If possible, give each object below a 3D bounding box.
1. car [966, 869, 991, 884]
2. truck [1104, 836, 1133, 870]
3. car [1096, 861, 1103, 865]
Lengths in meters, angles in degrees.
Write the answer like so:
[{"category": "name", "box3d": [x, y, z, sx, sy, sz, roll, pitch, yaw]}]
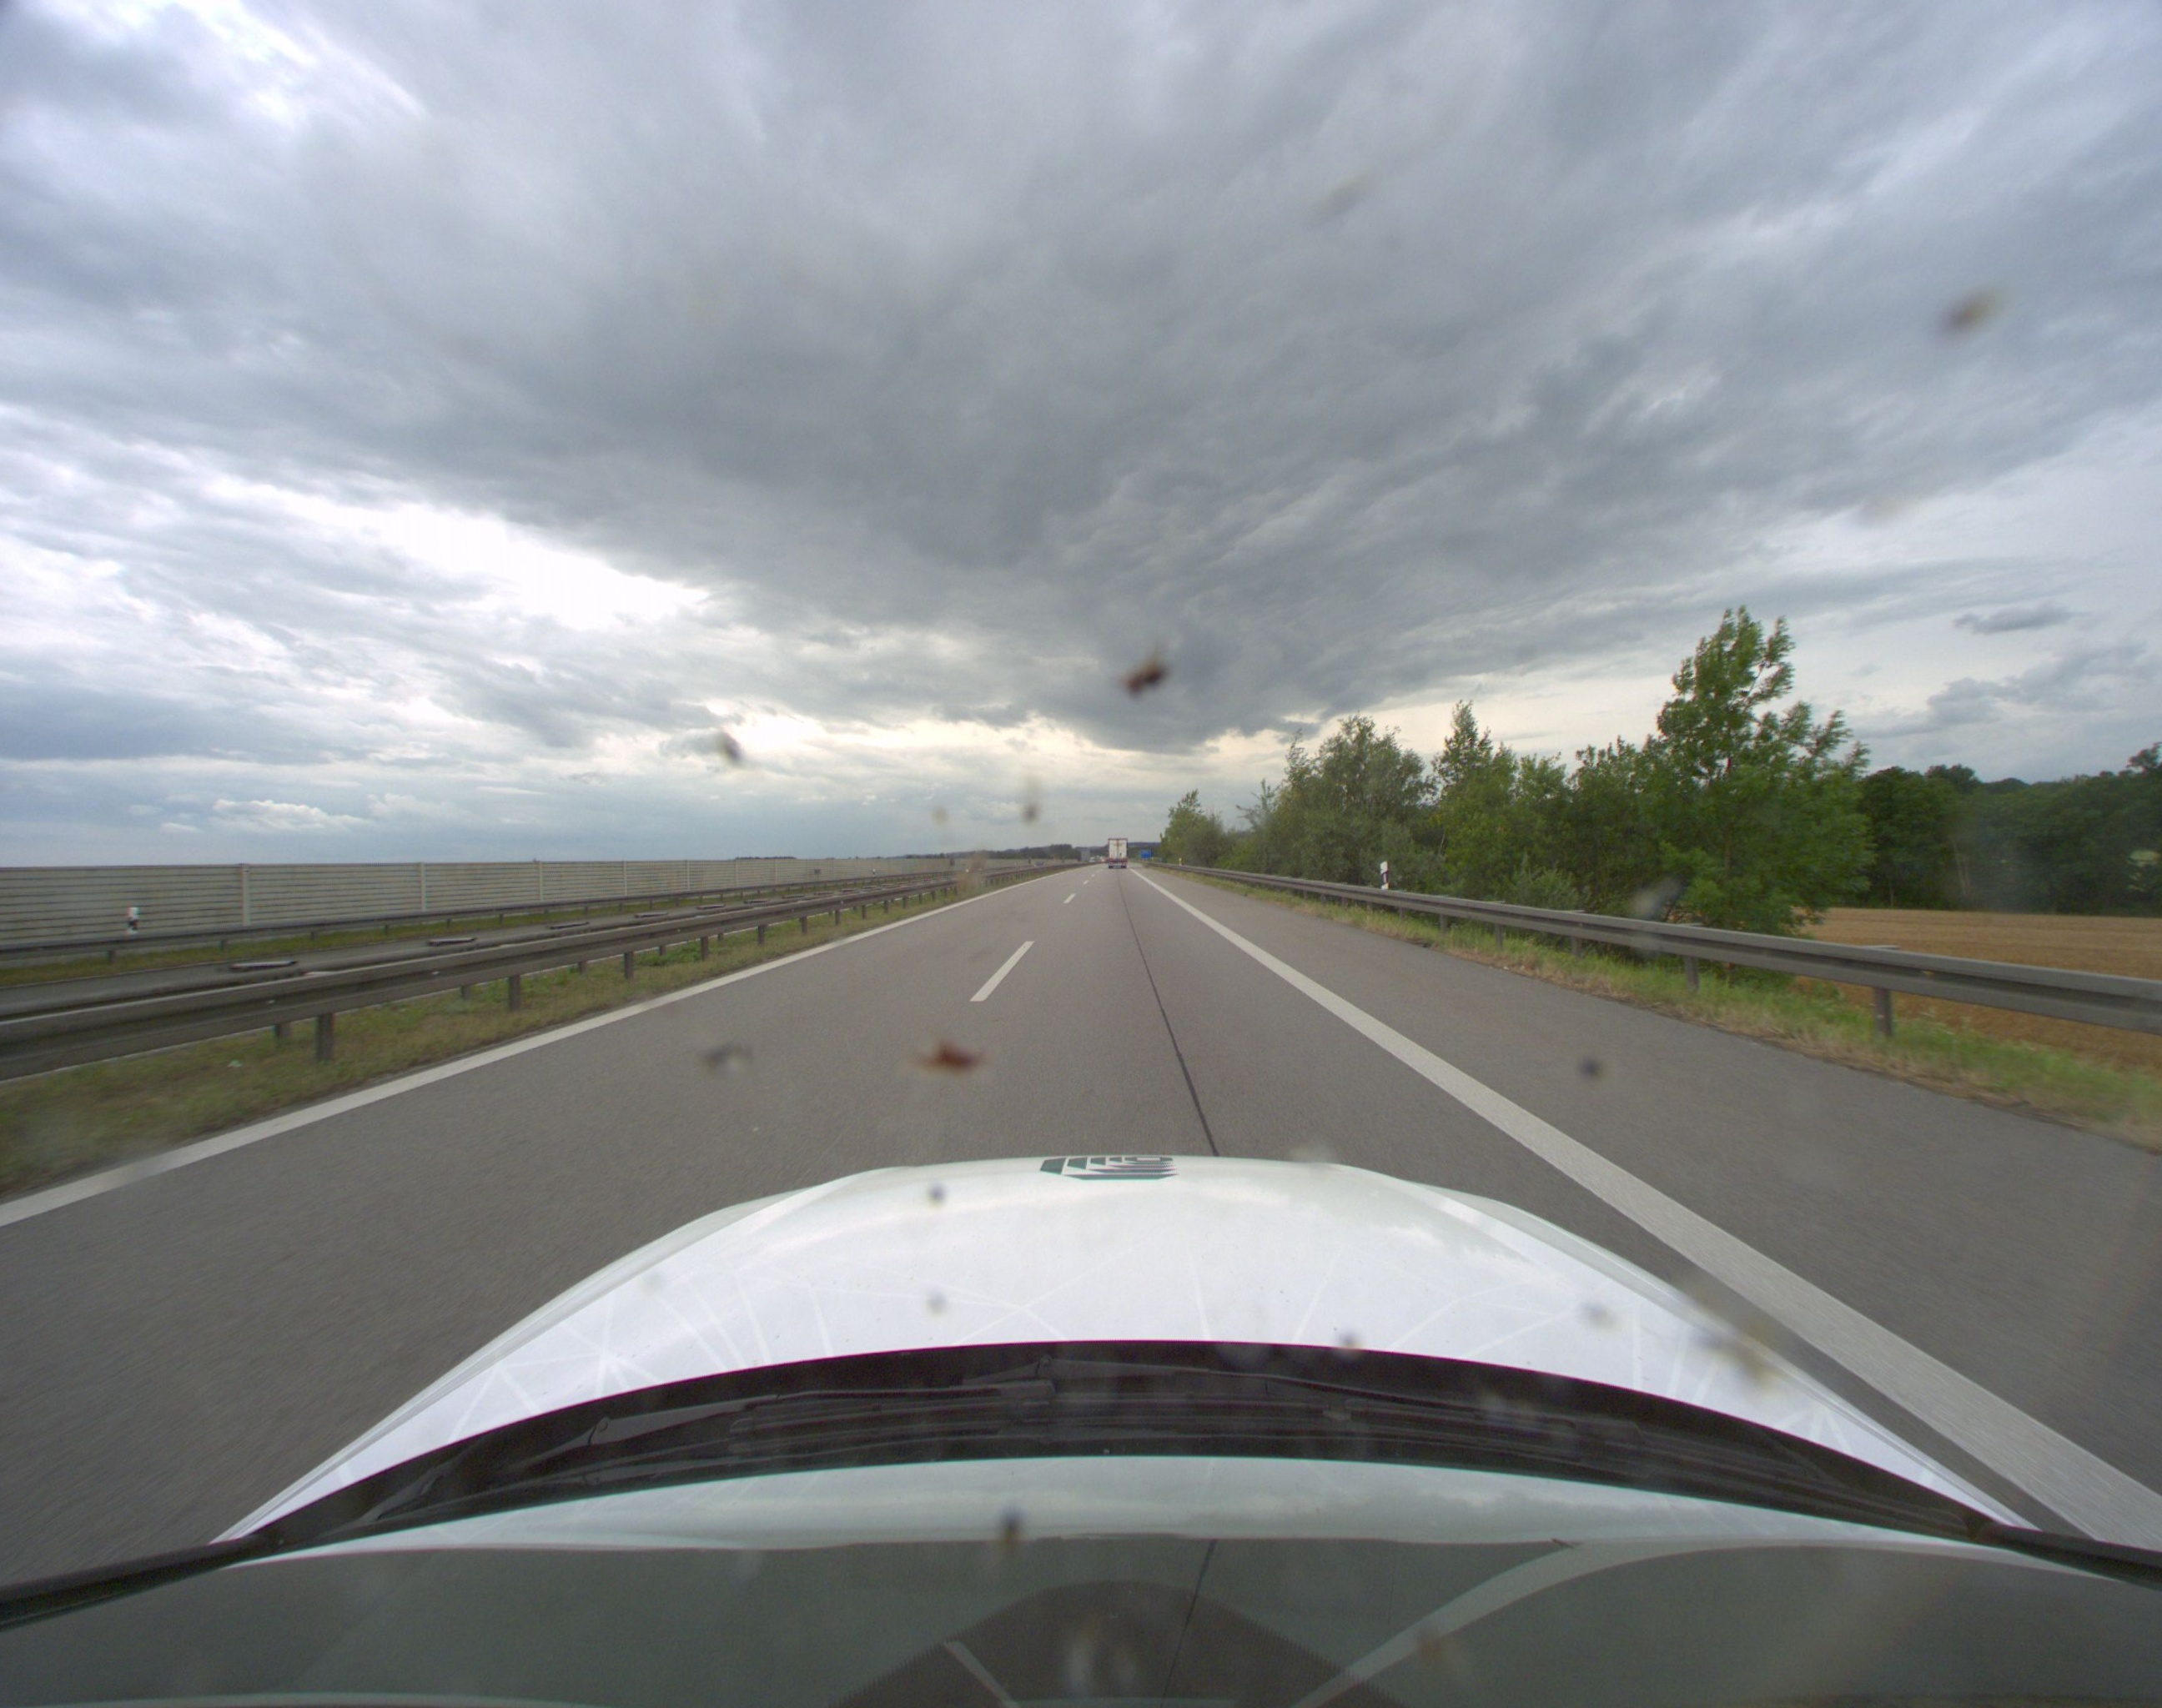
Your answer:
[{"category": "car", "box3d": [-10.830, 2.340, 86.507, 1.811, 1.403, 4.879, -3, 0, 2]}, {"category": "truck", "box3d": [5.268, -0.108, 115.807, 3.658, 4.412, 16.347, -2, -1, 2]}, {"category": "car", "box3d": [5.992, 2.893, 261.782, 1.988, 1.420, 3.998, 0, 1, -1]}]
